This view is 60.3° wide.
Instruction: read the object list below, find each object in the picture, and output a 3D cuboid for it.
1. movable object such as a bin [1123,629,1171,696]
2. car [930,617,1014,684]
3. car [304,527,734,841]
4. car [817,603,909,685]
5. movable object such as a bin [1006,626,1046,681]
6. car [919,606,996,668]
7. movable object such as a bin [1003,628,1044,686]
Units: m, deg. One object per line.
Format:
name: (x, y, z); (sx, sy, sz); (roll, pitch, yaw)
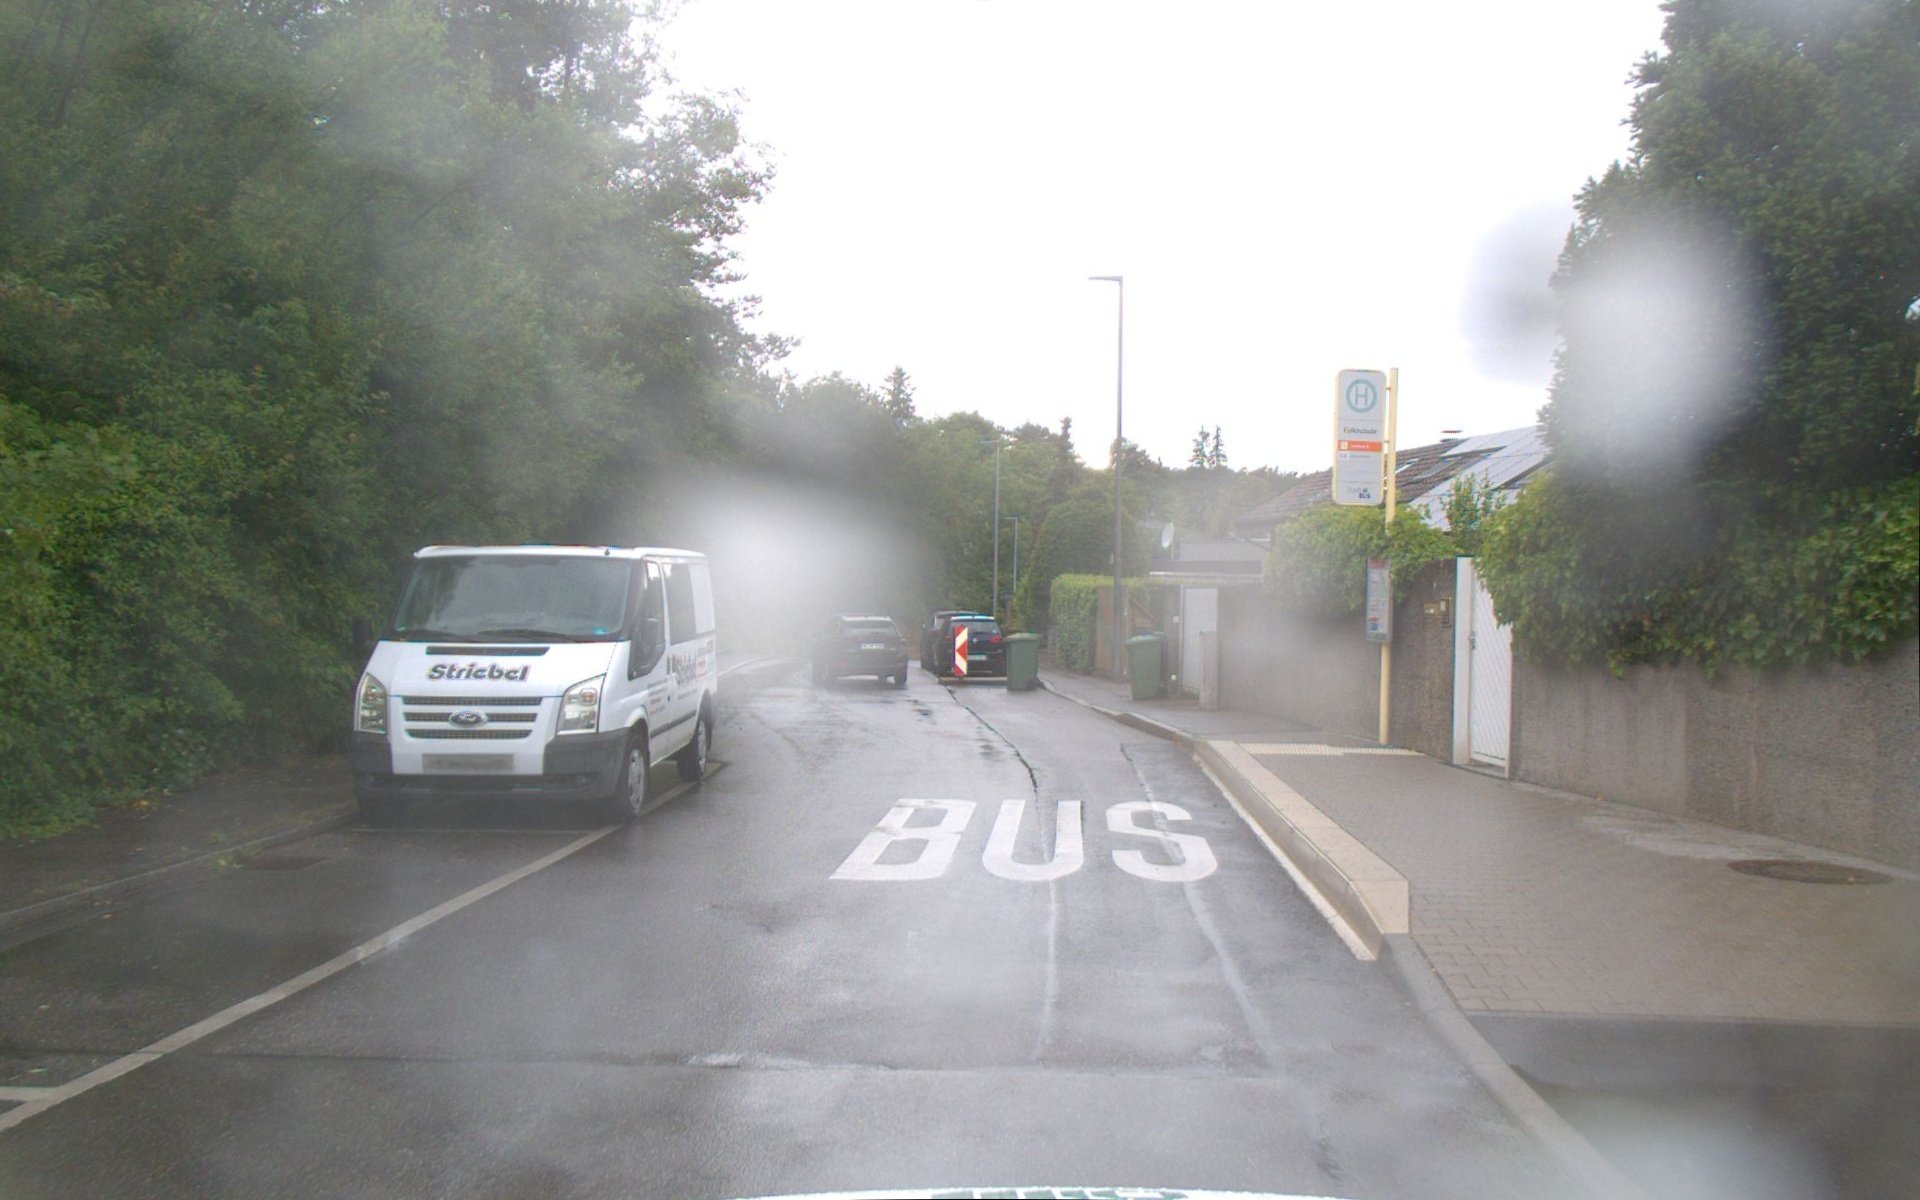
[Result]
movable object such as a bin: (3.214, 1.062, 28.460); (0.724, 1.107, 0.600); (-2, 0, -1)
car: (0.241, 1.202, 40.574); (1.721, 1.487, 4.297); (1, 0, -4)
car: (-3.179, 0.540, 13.188); (2.068, 2.009, 5.172); (0, 0, 0)
car: (-2.150, 1.015, 36.003); (1.832, 1.539, 4.087); (2, -4, -4)
movable object such as a bin: (1.355, 1.100, 34.138); (0.715, 1.097, 0.660); (1, 0, -6)
car: (-0.122, 0.994, 45.850); (1.838, 1.620, 4.476); (0, 0, -4)
movable object such as a bin: (1.266, 1.132, 32.982); (0.702, 1.115, 0.655); (1, 0, -8)
